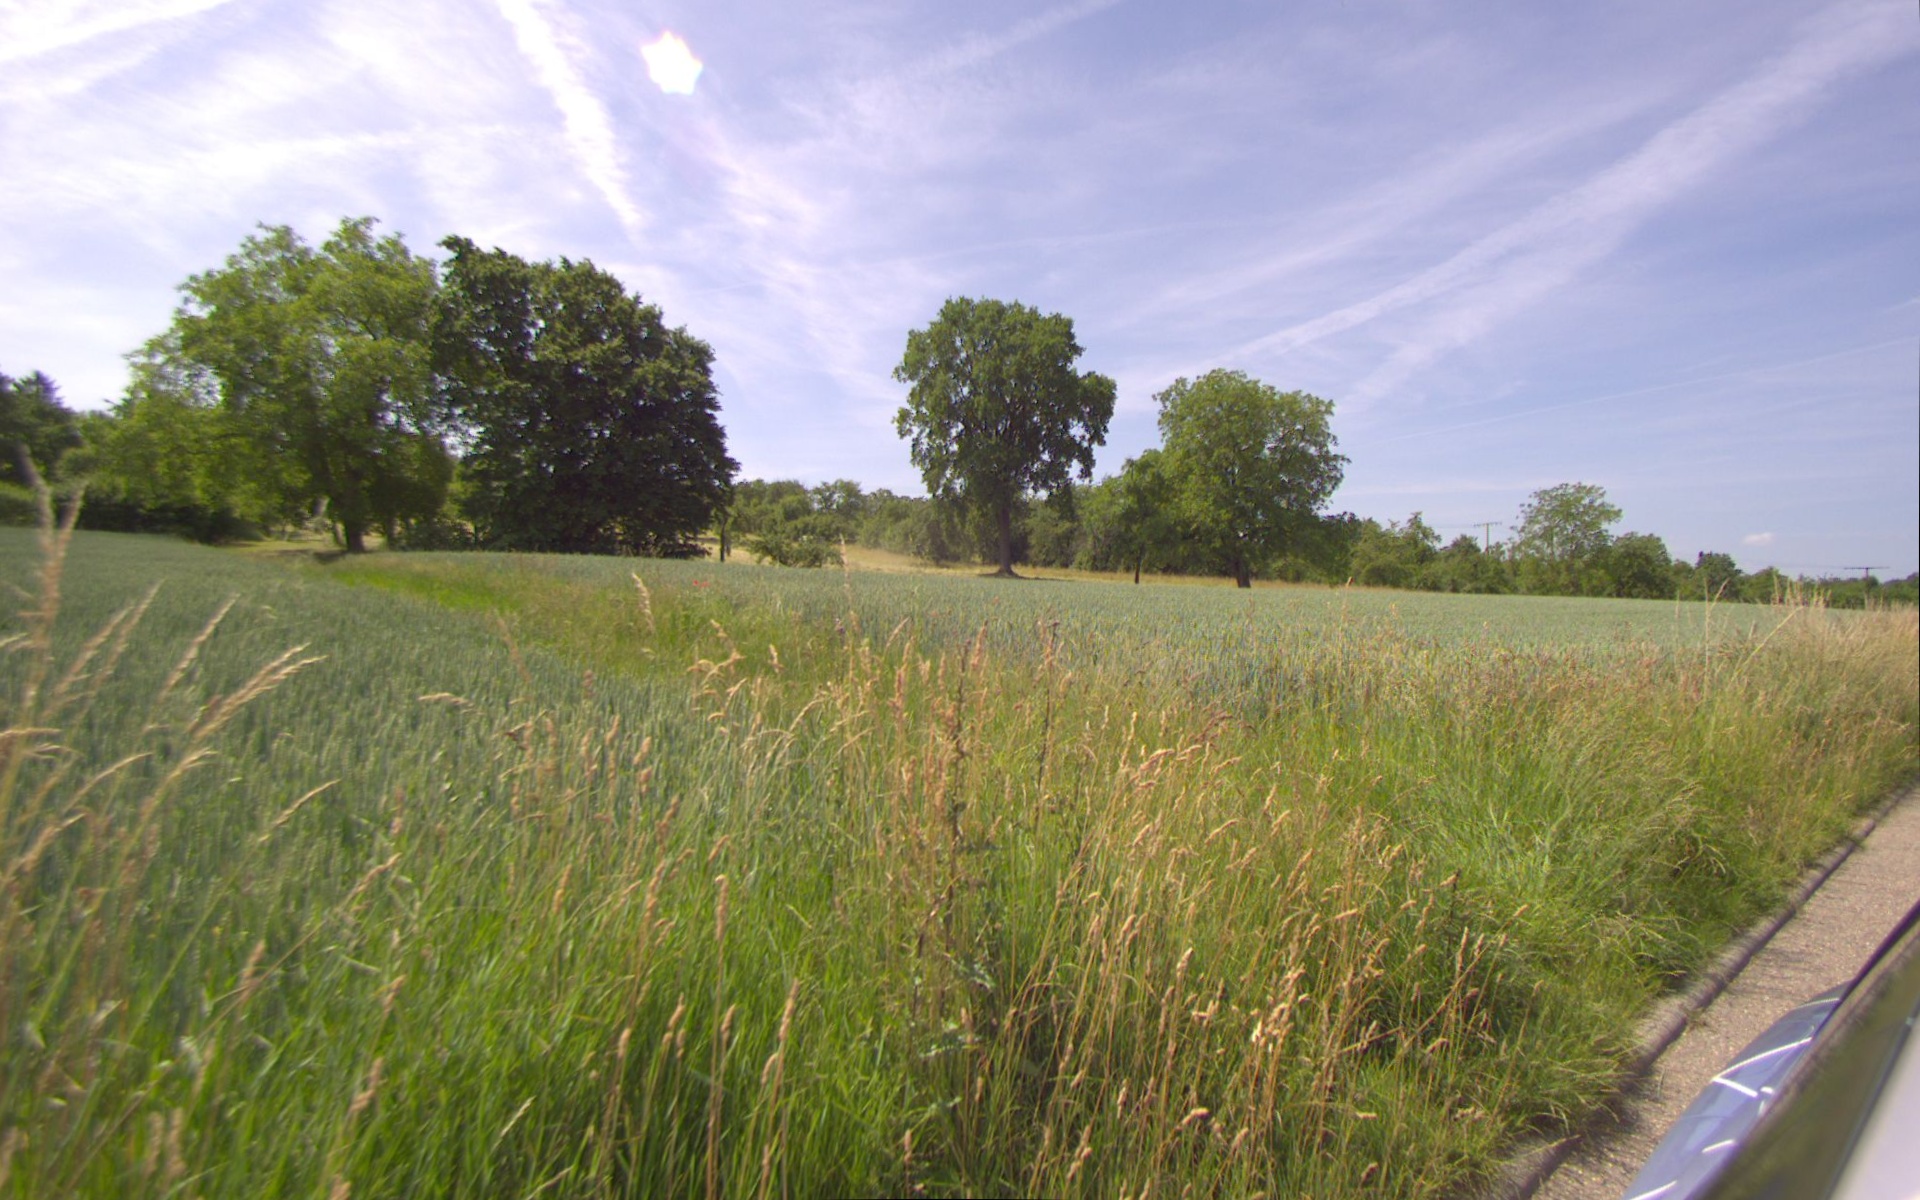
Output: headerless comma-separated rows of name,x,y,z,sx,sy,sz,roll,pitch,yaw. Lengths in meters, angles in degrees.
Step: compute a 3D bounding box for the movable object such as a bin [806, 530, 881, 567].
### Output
movable object such as a bin,-8.752,-3.906,75.669,2.401,2.398,6.576,1,4,-38
